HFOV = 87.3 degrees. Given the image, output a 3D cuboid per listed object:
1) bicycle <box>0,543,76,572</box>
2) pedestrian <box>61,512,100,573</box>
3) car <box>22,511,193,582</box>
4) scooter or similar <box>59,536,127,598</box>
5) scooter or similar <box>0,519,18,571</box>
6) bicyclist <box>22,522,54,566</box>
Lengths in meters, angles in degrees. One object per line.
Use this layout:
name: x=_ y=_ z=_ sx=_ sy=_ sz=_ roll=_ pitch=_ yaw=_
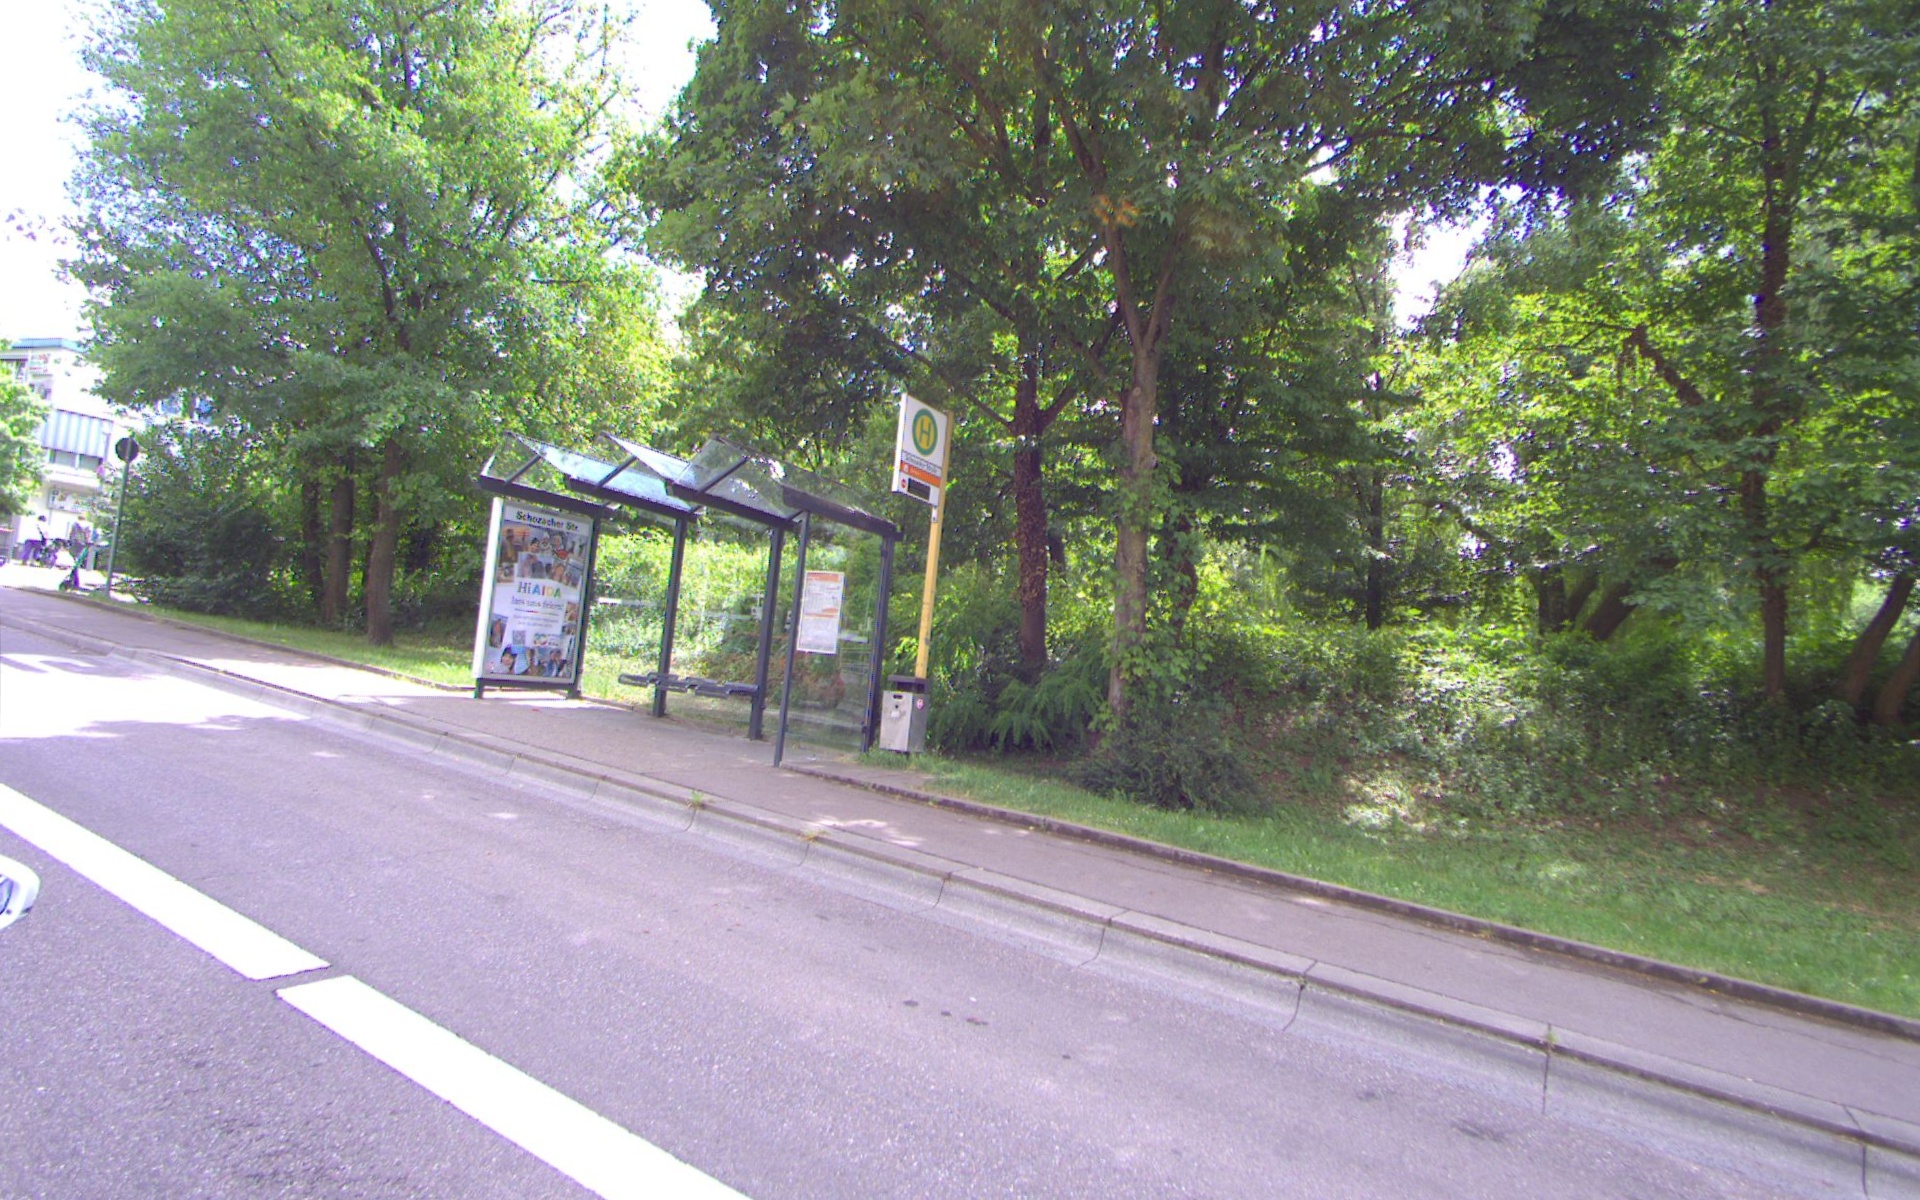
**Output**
bicycle: x=-26.526 y=-1.223 z=28.884 sx=1.568 sy=0.617 sz=0.532 roll=7 pitch=-1 yaw=-20
pedestrian: x=-26.441 y=-1.715 z=30.244 sx=0.653 sy=1.733 sz=0.458 roll=8 pitch=-1 yaw=-32
car: x=-33.340 y=-2.058 z=39.510 sx=1.964 sy=2.037 sz=4.551 roll=6 pitch=-2 yaw=24
scooter or similar: x=-20.152 y=-0.765 z=23.394 sx=0.447 sy=1.242 sz=0.893 roll=6 pitch=-6 yaw=32
scooter or similar: x=-24.958 y=-1.477 z=25.656 sx=0.546 sy=1.286 sz=1.153 roll=6 pitch=-3 yaw=34
bicyclist: x=-26.453 y=-1.601 z=28.876 sx=0.394 sy=1.170 sz=0.501 roll=7 pitch=-1 yaw=-20
